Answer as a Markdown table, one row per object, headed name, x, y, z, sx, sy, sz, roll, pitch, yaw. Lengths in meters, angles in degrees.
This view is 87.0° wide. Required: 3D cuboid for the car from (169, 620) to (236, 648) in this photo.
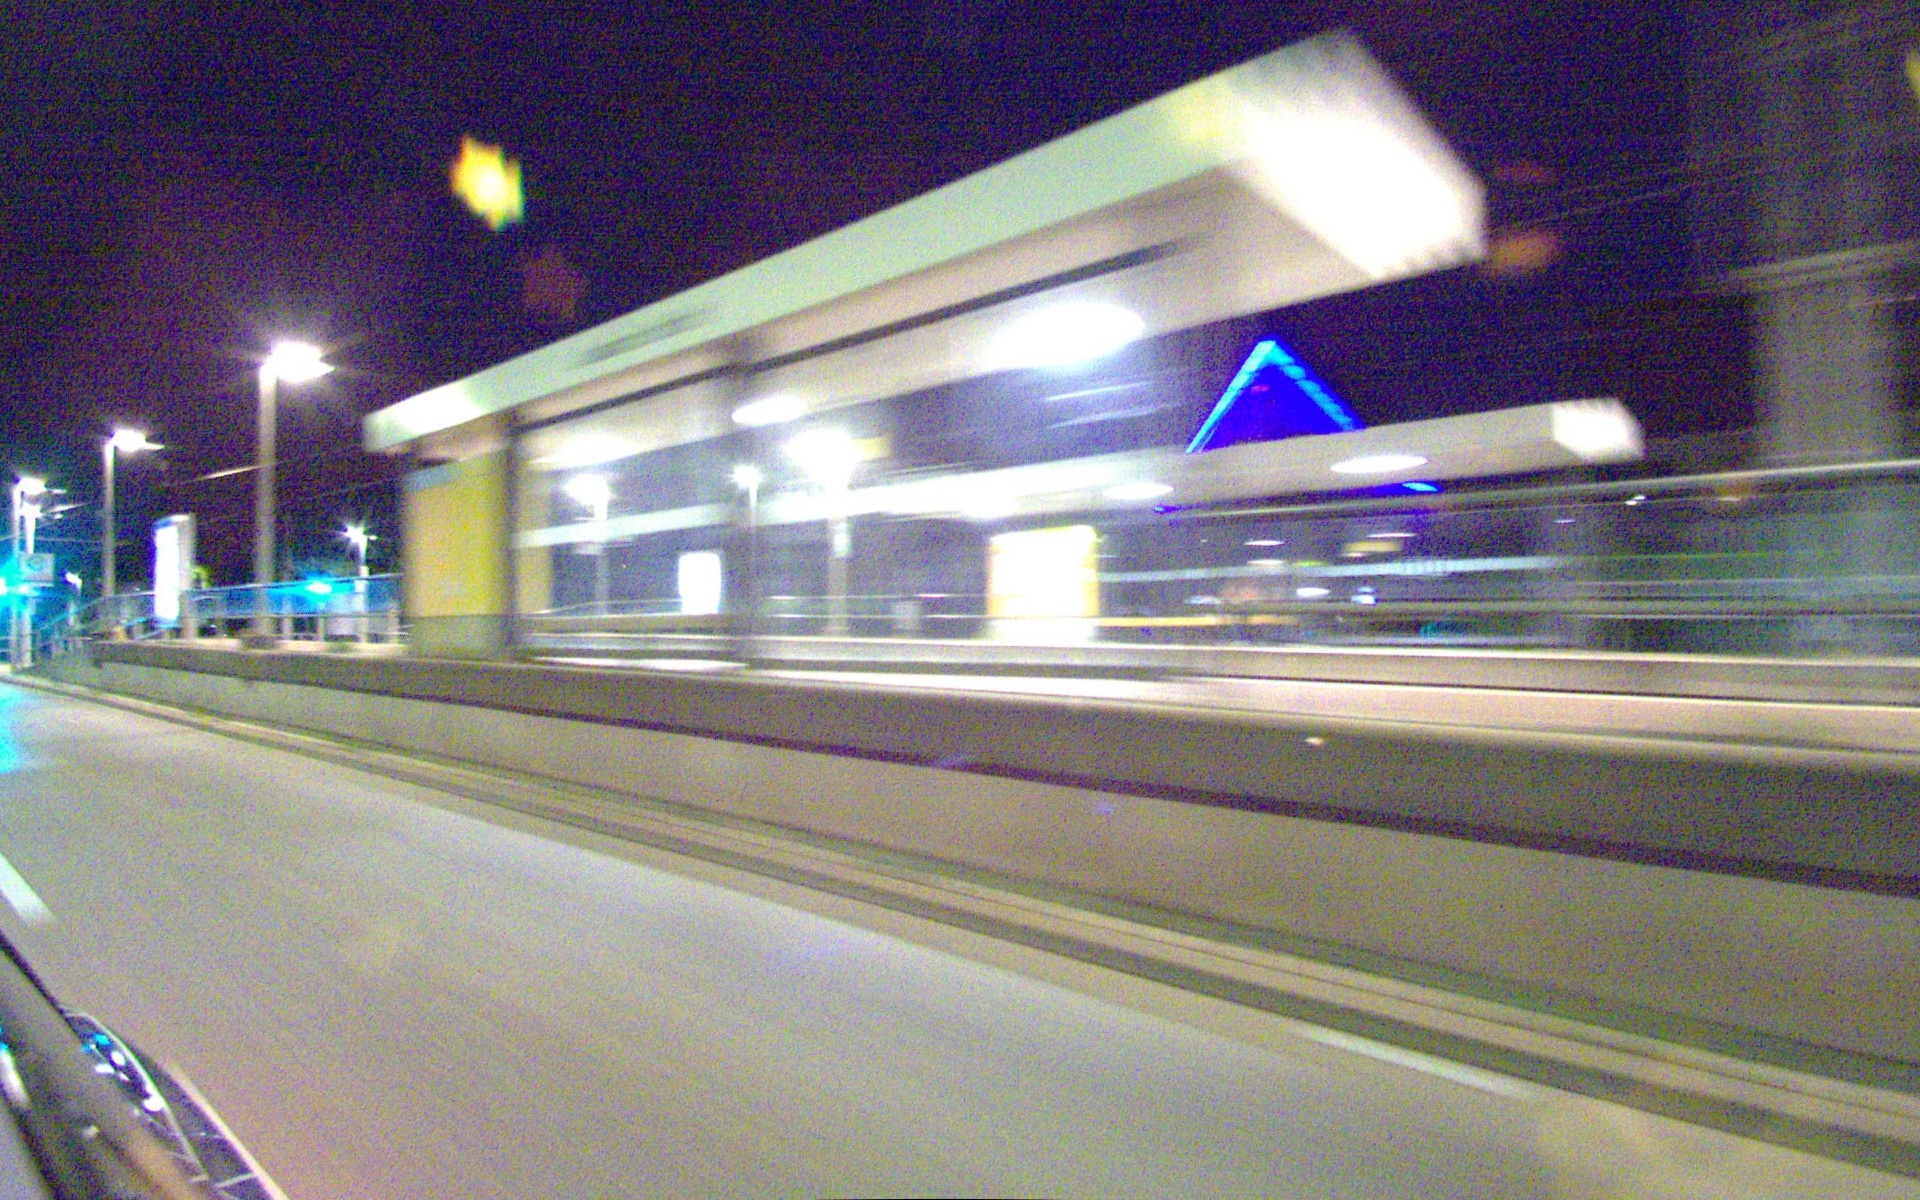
| name | x | y | z | sx | sy | sz | roll | pitch | yaw |
| --- | --- | --- | --- | --- | --- | --- | --- | --- | --- |
| car | -41.494 | 1.861 | 55.422 | 4.087 | 1.516 | 1.848 | -2 | -2 | 37 |
